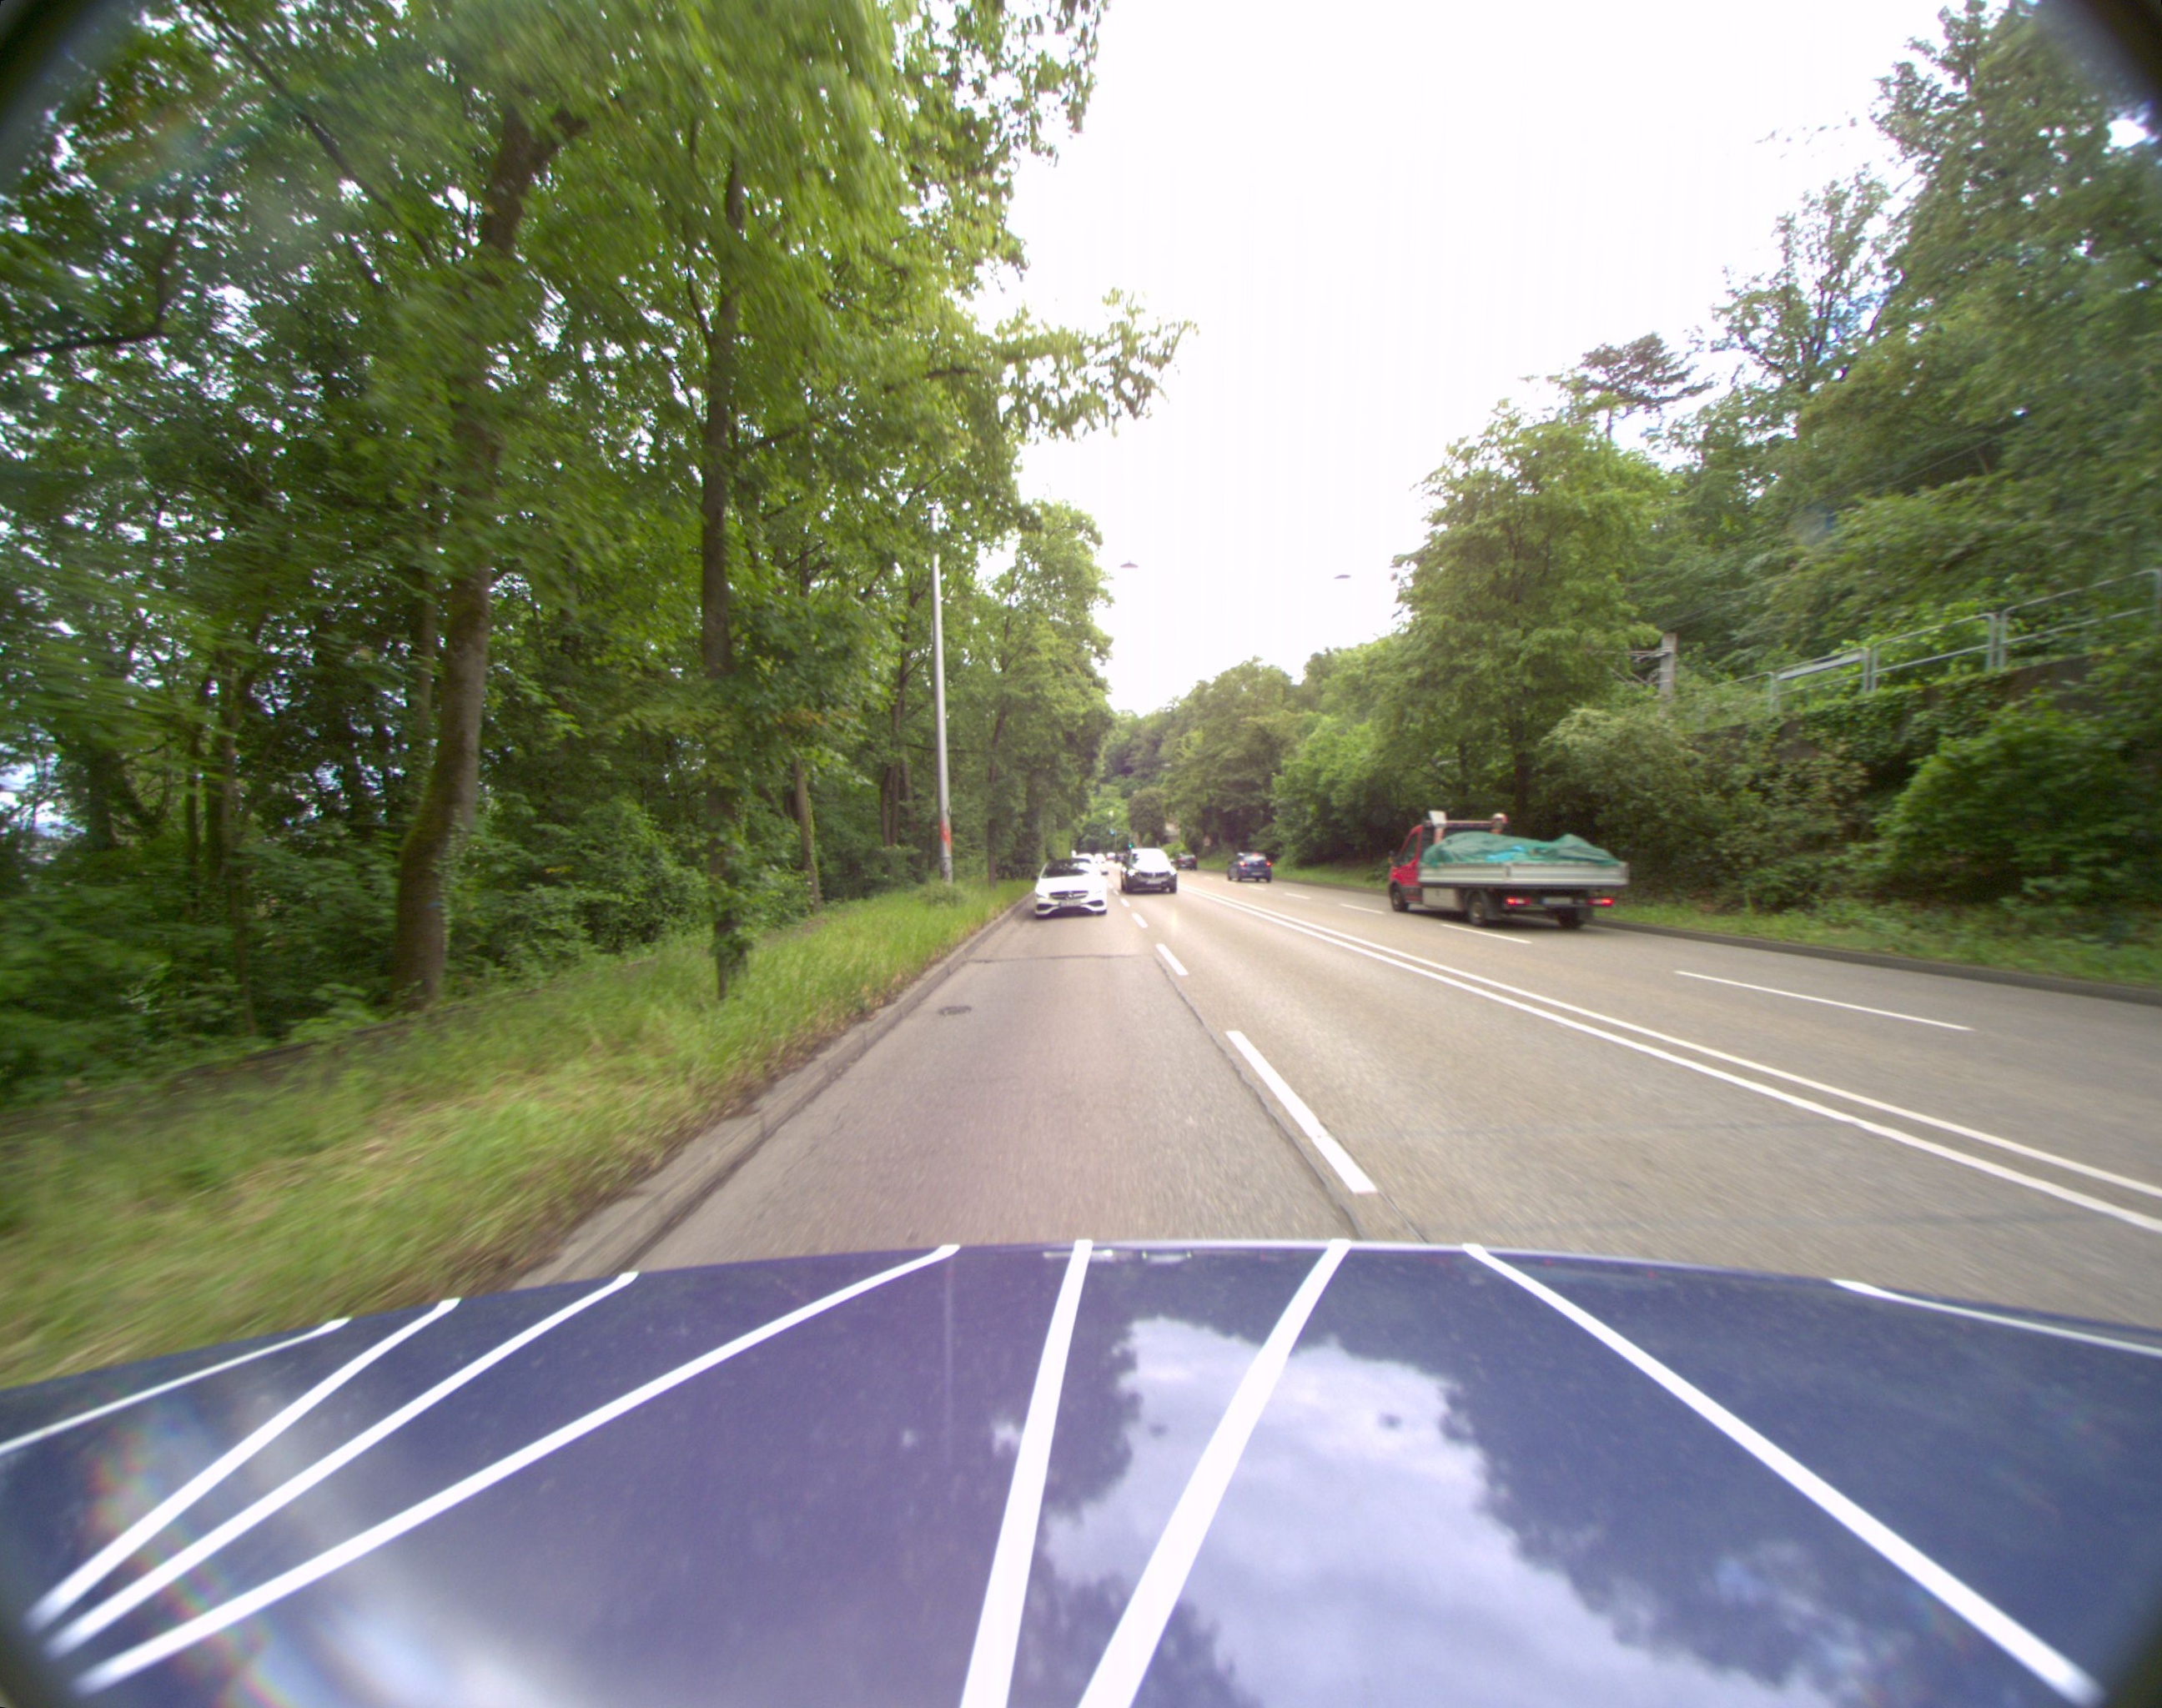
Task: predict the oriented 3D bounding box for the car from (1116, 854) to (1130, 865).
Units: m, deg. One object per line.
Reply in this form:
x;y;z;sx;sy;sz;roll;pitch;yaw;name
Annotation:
5.967;0.774;109.152;1.802;1.543;3.999;-2;1;0;car

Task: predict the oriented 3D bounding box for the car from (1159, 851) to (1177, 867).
10.450;0.554;91.247;1.662;1.762;4.134;1;1;0;car

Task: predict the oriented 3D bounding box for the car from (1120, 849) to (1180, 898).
2.524;0.686;28.829;1.871;1.653;4.191;1;1;0;car

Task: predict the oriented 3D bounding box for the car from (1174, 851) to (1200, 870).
9.215;0.557;66.222;1.737;1.502;4.432;0;1;1;car

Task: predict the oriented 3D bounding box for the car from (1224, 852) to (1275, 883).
8.682;0.685;39.449;1.674;1.477;3.999;0;1;-1;car

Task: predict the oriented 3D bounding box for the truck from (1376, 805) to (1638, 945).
8.717;0.313;16.565;2.182;2.397;6.465;2;1;2;truck
